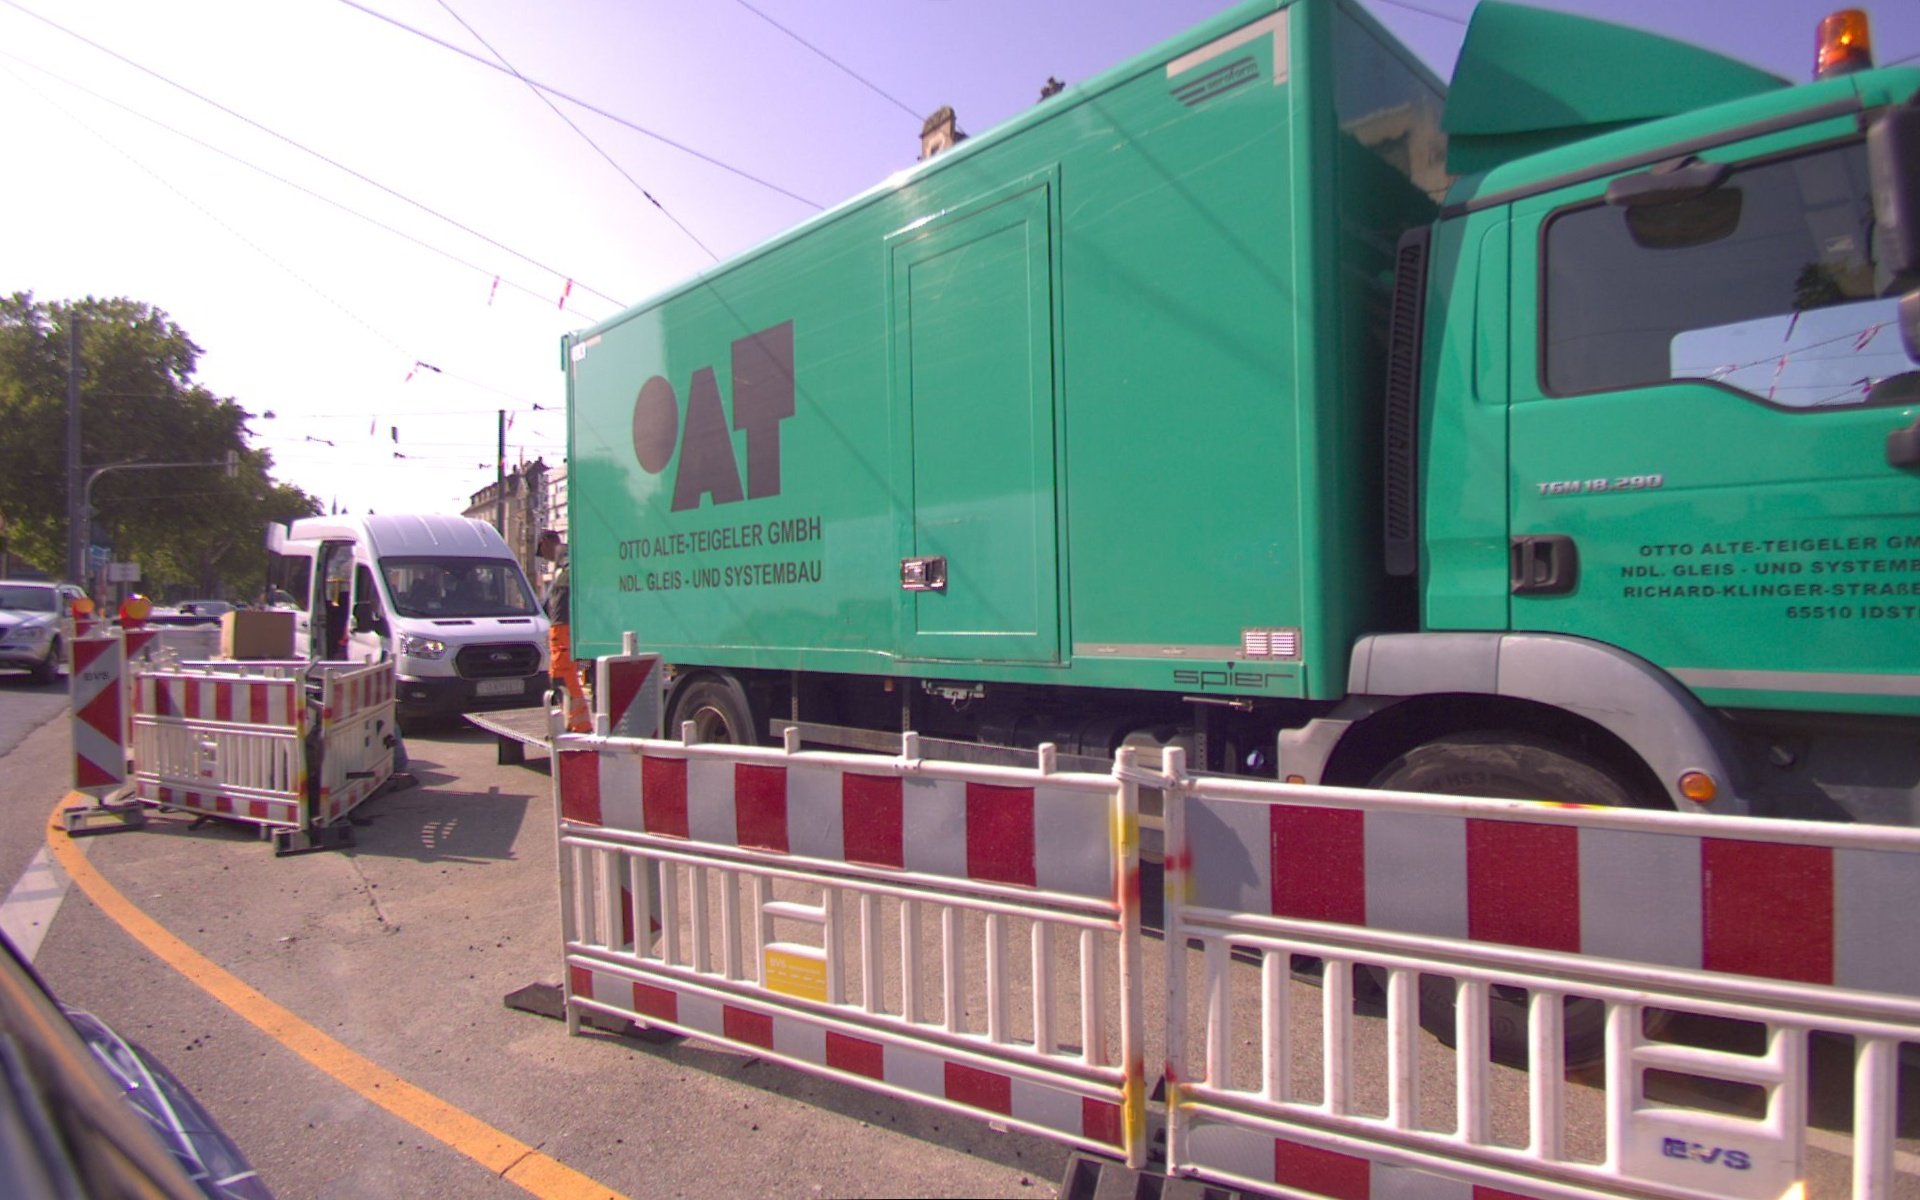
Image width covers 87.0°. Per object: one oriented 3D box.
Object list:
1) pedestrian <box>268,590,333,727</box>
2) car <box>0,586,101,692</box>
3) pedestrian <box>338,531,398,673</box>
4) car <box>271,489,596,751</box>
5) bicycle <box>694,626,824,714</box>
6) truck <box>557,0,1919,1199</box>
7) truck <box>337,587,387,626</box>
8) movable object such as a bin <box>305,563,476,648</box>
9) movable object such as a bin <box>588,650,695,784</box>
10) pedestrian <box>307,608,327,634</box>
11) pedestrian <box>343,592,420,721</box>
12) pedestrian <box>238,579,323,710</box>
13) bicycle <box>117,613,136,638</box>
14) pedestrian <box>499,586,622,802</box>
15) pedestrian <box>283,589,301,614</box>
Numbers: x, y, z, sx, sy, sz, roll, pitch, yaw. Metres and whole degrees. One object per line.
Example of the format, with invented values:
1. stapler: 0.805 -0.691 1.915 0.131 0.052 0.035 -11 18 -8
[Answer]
1. pedestrian: -10.064 0.870 15.478 0.723 2.029 0.910 1 -1 -28
2. car: -17.149 0.645 18.276 1.967 1.708 5.238 1 -1 -35
3. pedestrian: -8.787 0.031 15.046 0.723 2.029 0.910 1 -1 -30
4. car: -7.018 0.227 13.190 5.171 2.750 2.200 0 -1 44
5. bicycle: -2.732 0.940 13.815 1.642 1.145 0.616 0 -1 8
6. truck: 0.652 -0.392 5.860 2.642 3.706 8.220 1 -1 -44
7. truck: -37.300 0.382 63.014 2.129 2.238 7.068 1 -1 -35
8. movable object such as a bin: -24.188 0.222 43.292 2.112 3.371 6.090 -1 0 35
9. movable object such as a bin: -3.057 1.059 9.631 0.634 1.100 1.486 1 -1 -31
10. pedestrian: -42.763 1.411 67.288 1.018 1.723 1.098 1 -1 -36
11. pedestrian: -9.349 0.891 16.392 0.725 2.029 0.908 1 -1 -3
12. pedestrian: -10.847 0.694 16.180 0.725 2.029 0.907 1 -1 -2
13. bicycle: -32.923 1.005 39.999 0.404 0.994 1.380 1 -1 -33
14. pedestrian: -3.290 0.746 8.393 0.697 1.706 0.765 0 -1 1
15. pedestrian: -55.418 0.088 83.949 0.897 2.028 0.914 -1 1 -9
